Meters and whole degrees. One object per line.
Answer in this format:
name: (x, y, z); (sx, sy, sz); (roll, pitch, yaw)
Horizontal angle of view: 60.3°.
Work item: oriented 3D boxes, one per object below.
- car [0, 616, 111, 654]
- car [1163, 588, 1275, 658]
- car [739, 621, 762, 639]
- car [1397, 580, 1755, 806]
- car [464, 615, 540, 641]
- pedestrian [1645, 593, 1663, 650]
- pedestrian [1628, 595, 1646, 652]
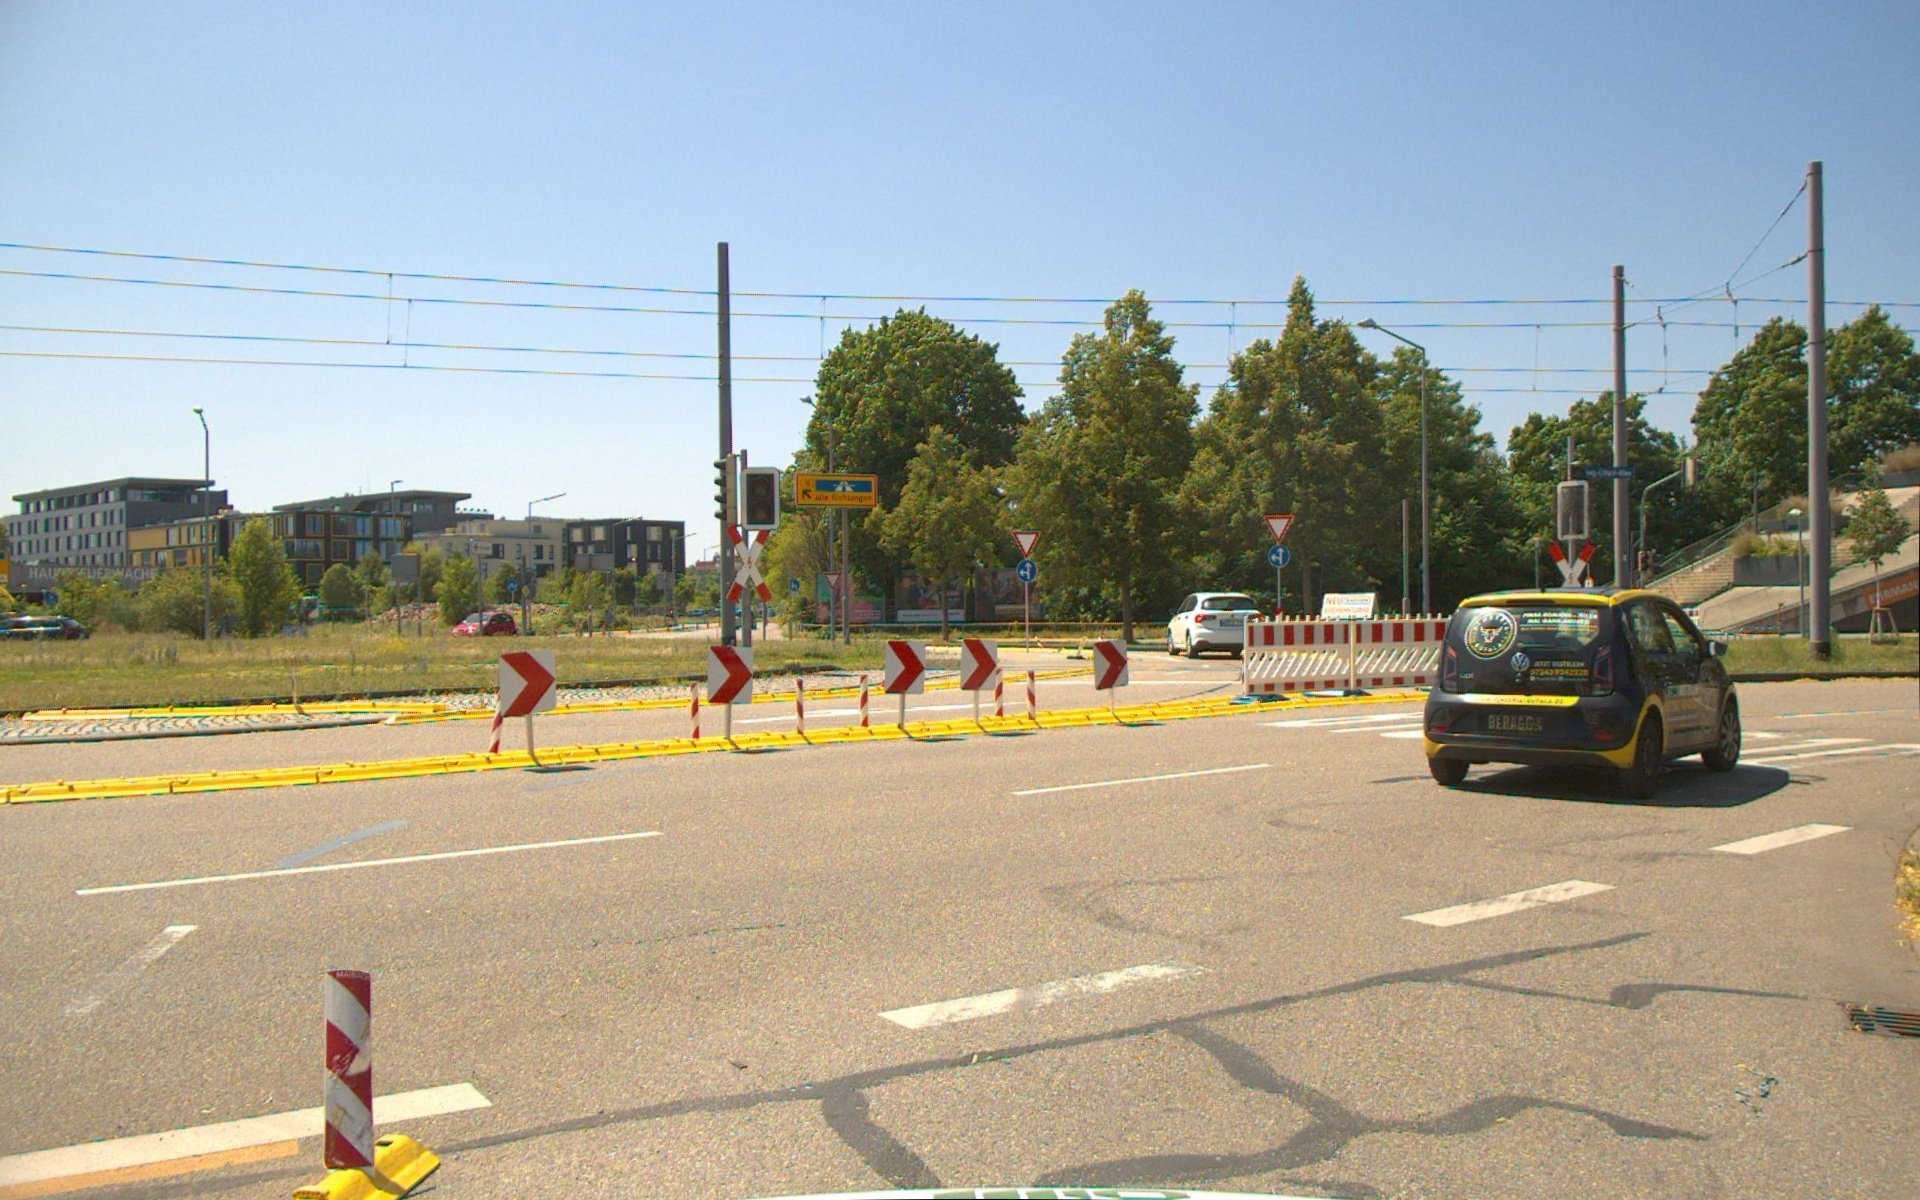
car: (-34.574, 1.295, 62.393); (4.412, 1.342, 1.984); (-1, 0, -26)
car: (5.993, 0.521, 38.700); (1.952, 1.512, 4.366); (-1, 0, 0)
car: (-17.031, 2.448, 134.480); (1.625, 1.396, 3.030); (-1, 0, -3)
car: (4.938, 0.627, 12.936); (1.592, 1.477, 3.970); (0, -1, 37)
car: (-20.728, 1.266, 74.951); (1.463, 1.109, 3.519); (-1, 0, 24)
pedestrian: (21.714, 0.661, 51.747); (0.438, 1.769, 0.318); (0, 0, 0)
pedestrian: (21.156, 0.736, 51.709); (0.438, 1.769, 0.291); (0, 0, 0)
